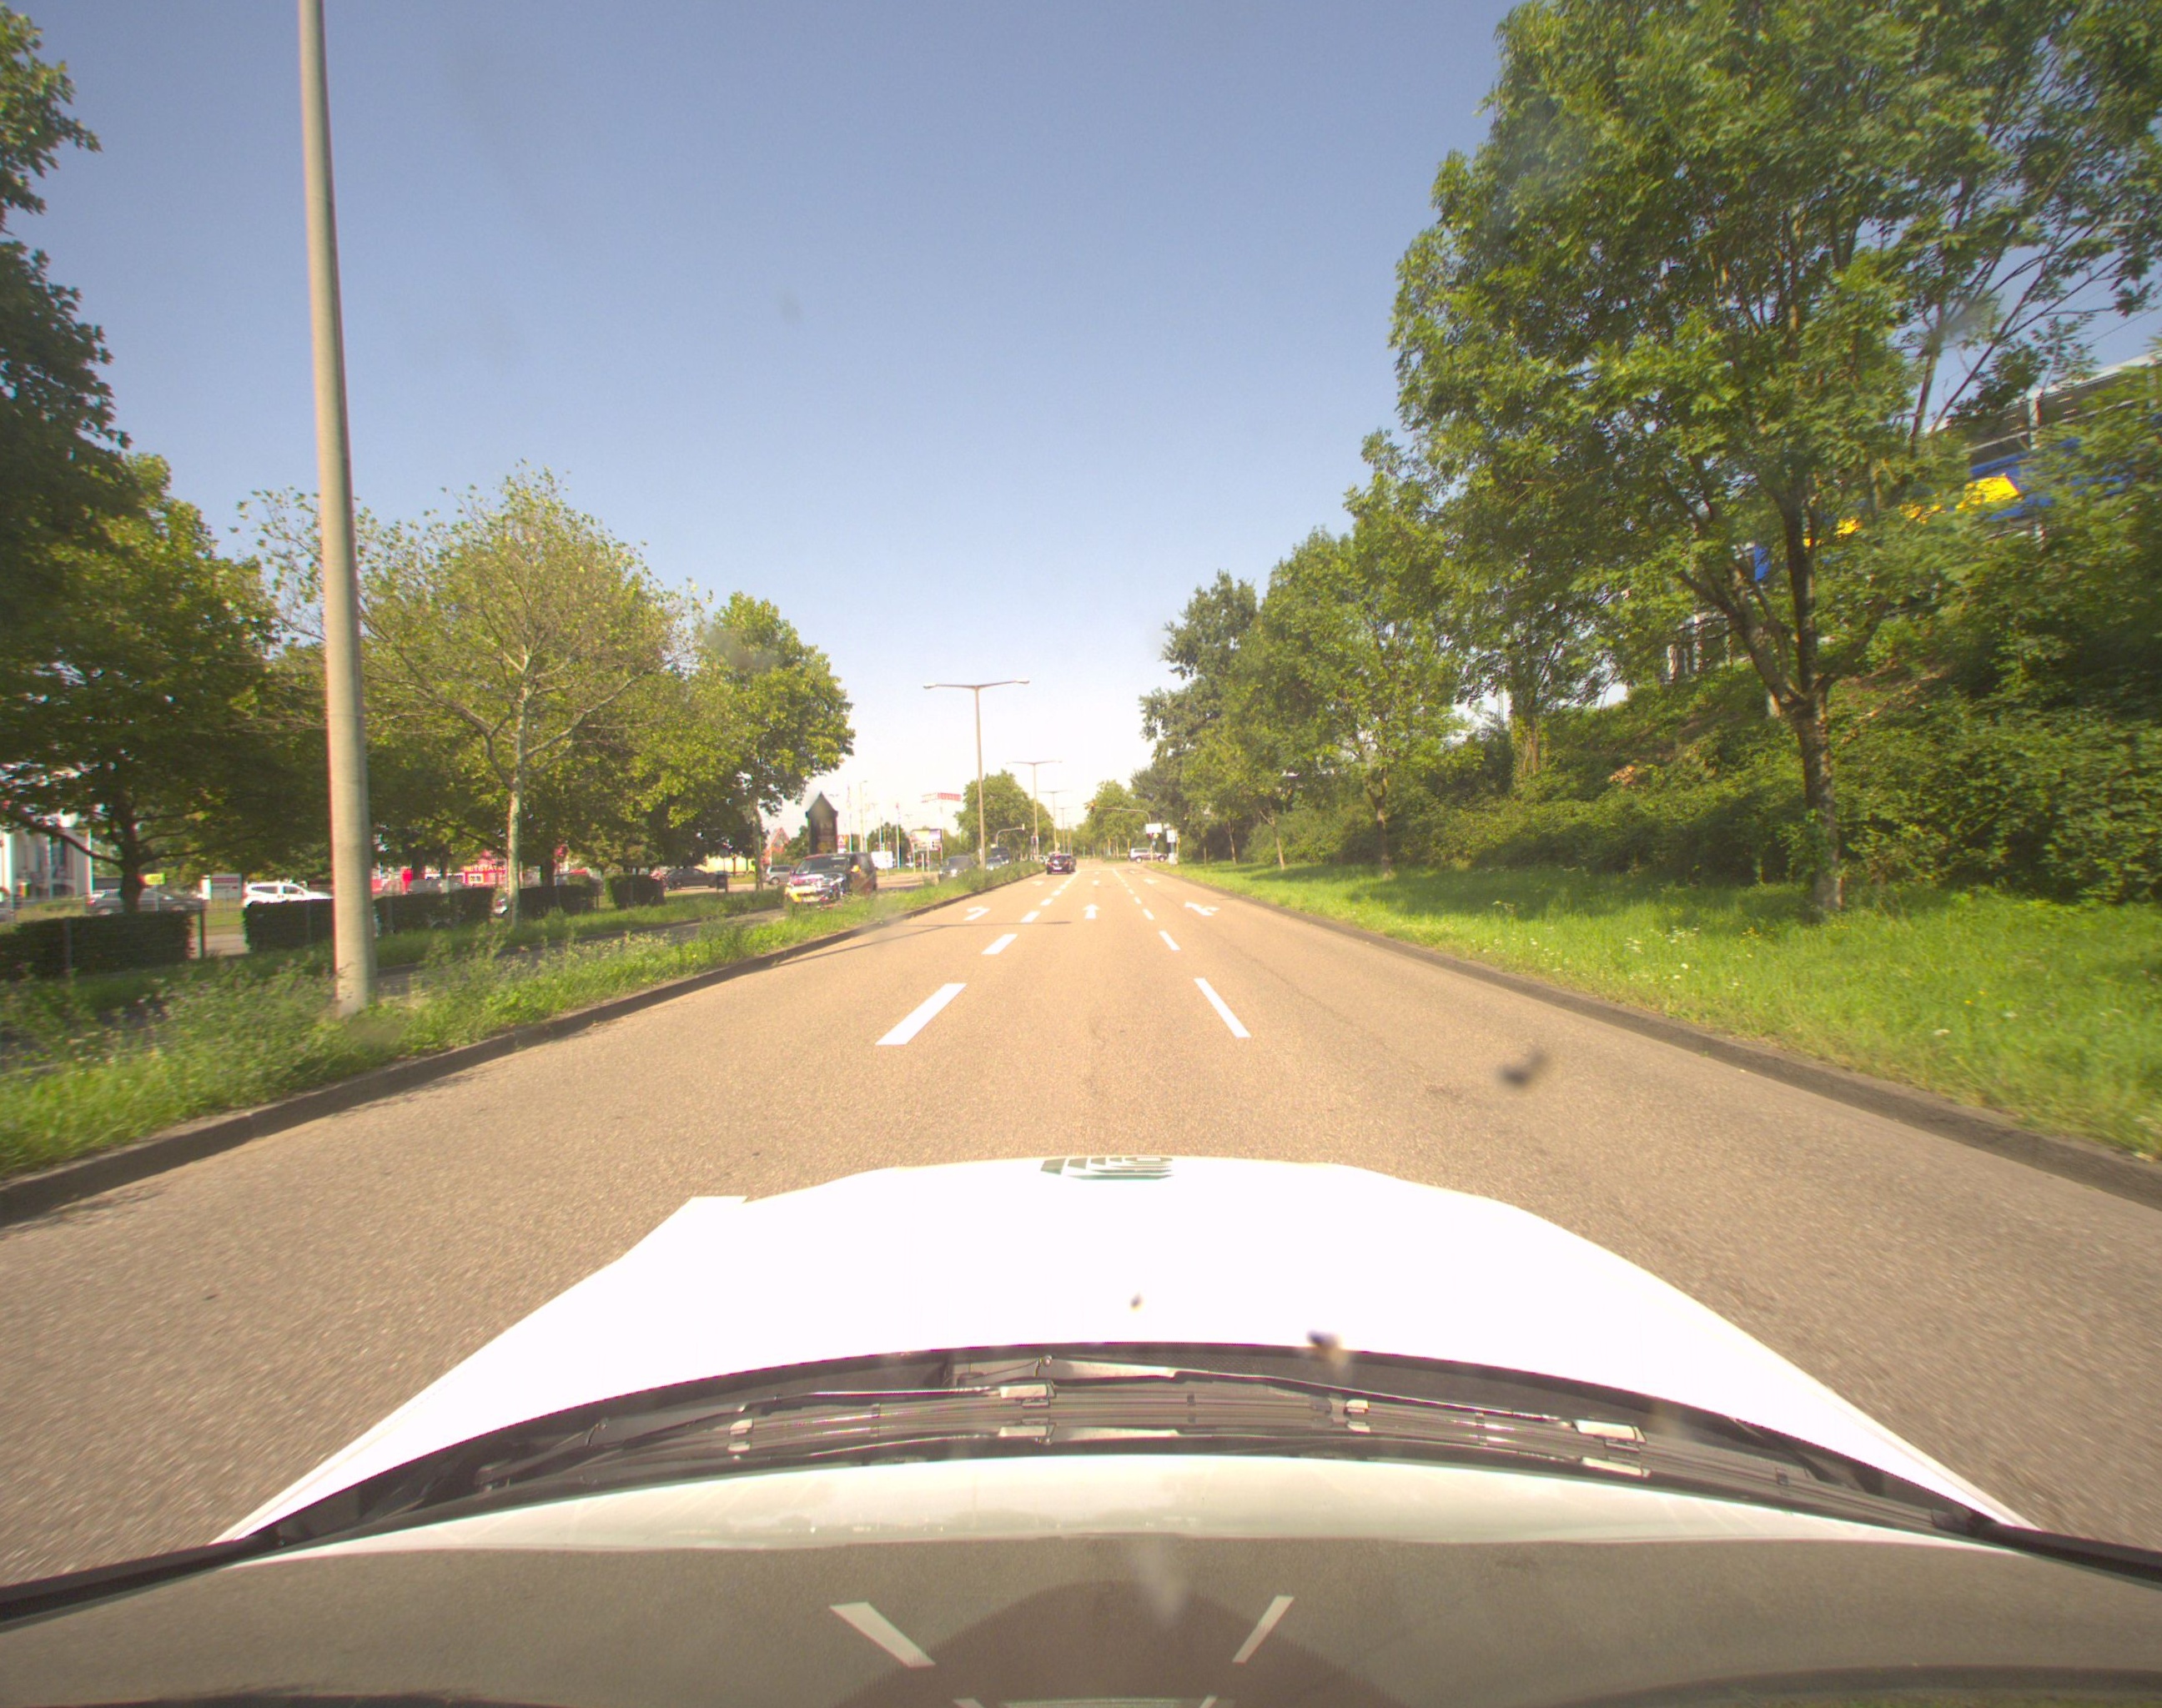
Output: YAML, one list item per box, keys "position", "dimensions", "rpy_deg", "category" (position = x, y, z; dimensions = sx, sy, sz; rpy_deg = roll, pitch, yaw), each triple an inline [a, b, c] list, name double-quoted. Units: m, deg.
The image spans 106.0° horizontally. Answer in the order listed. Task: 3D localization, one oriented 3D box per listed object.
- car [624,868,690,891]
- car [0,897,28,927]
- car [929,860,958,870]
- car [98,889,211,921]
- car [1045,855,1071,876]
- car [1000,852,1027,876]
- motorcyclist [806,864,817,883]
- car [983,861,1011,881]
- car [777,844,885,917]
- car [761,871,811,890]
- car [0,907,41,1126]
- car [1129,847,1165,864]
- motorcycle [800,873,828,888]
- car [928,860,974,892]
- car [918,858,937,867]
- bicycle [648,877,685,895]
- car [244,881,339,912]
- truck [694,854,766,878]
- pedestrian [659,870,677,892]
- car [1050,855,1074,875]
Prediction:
- position: [-32.909, 1.968, 63.308]
  dimensions: [4.331, 1.579, 1.554]
  rpy_deg: [-1, -1, -37]
  category: "car"
- position: [-60.697, 3.283, 43.791]
  dimensions: [4.612, 1.545, 1.849]
  rpy_deg: [-3, 0, -38]
  category: "car"
- position: [-17.760, 1.383, 104.994]
  dimensions: [3.355, 1.137, 1.497]
  rpy_deg: [-3, 0, 9]
  category: "car"
- position: [-54.454, 2.976, 47.983]
  dimensions: [4.017, 1.545, 1.820]
  rpy_deg: [-3, 0, -34]
  category: "car"
- position: [-1.711, 0.854, 61.568]
  dimensions: [1.686, 1.486, 4.001]
  rpy_deg: [-3, 0, 1]
  category: "car"
- position: [-6.974, 1.046, 84.475]
  dimensions: [2.104, 2.333, 6.283]
  rpy_deg: [-2, 0, 1]
  category: "car"
- position: [-22.297, 1.605, 67.409]
  dimensions: [0.686, 1.572, 0.676]
  rpy_deg: [-1, -1, -35]
  category: "motorcyclist"
- position: [-6.899, 1.369, 67.059]
  dimensions: [1.766, 1.574, 4.001]
  rpy_deg: [-2, 0, 1]
  category: "car"
- position: [-7.894, 0.782, 26.185]
  dimensions: [1.925, 2.027, 4.566]
  rpy_deg: [-3, 0, 0]
  category: "car"
- position: [-25.027, 2.206, 69.174]
  dimensions: [3.718, 1.443, 1.451]
  rpy_deg: [-1, -1, -35]
  category: "car"
- position: [-8.248, 1.132, 4.028]
  dimensions: [1.671, 1.486, 3.492]
  rpy_deg: [-2, 0, 0]
  category: "car"
- position: [8.080, 0.239, 99.771]
  dimensions: [4.249, 1.836, 1.914]
  rpy_deg: [-3, 0, 2]
  category: "car"
- position: [-22.150, 2.159, 67.487]
  dimensions: [2.084, 1.136, 0.670]
  rpy_deg: [-2, -1, -35]
  category: "motorcycle"
- position: [-7.624, 1.266, 48.231]
  dimensions: [1.987, 1.706, 4.503]
  rpy_deg: [-2, 0, 0]
  category: "car"
- position: [-33.959, 1.829, 180.107]
  dimensions: [1.976, 2.014, 4.313]
  rpy_deg: [-2, -1, 21]
  category: "car"
- position: [-31.172, 2.366, 61.319]
  dimensions: [2.370, 1.235, 0.865]
  rpy_deg: [-1, -1, -35]
  category: "bicycle"
- position: [-49.024, 2.610, 50.679]
  dimensions: [4.017, 1.679, 1.850]
  rpy_deg: [-1, -1, -36]
  category: "car"
- position: [-51.662, 1.801, 119.948]
  dimensions: [9.053, 2.958, 3.476]
  rpy_deg: [-3, 0, -35]
  category: "truck"
- position: [-31.109, 2.040, 61.395]
  dimensions: [1.062, 1.575, 0.859]
  rpy_deg: [-1, -1, -35]
  category: "pedestrian"
- position: [-1.494, 0.884, 66.255]
  dimensions: [1.686, 1.486, 4.001]
  rpy_deg: [-3, 0, 1]
  category: "car"
